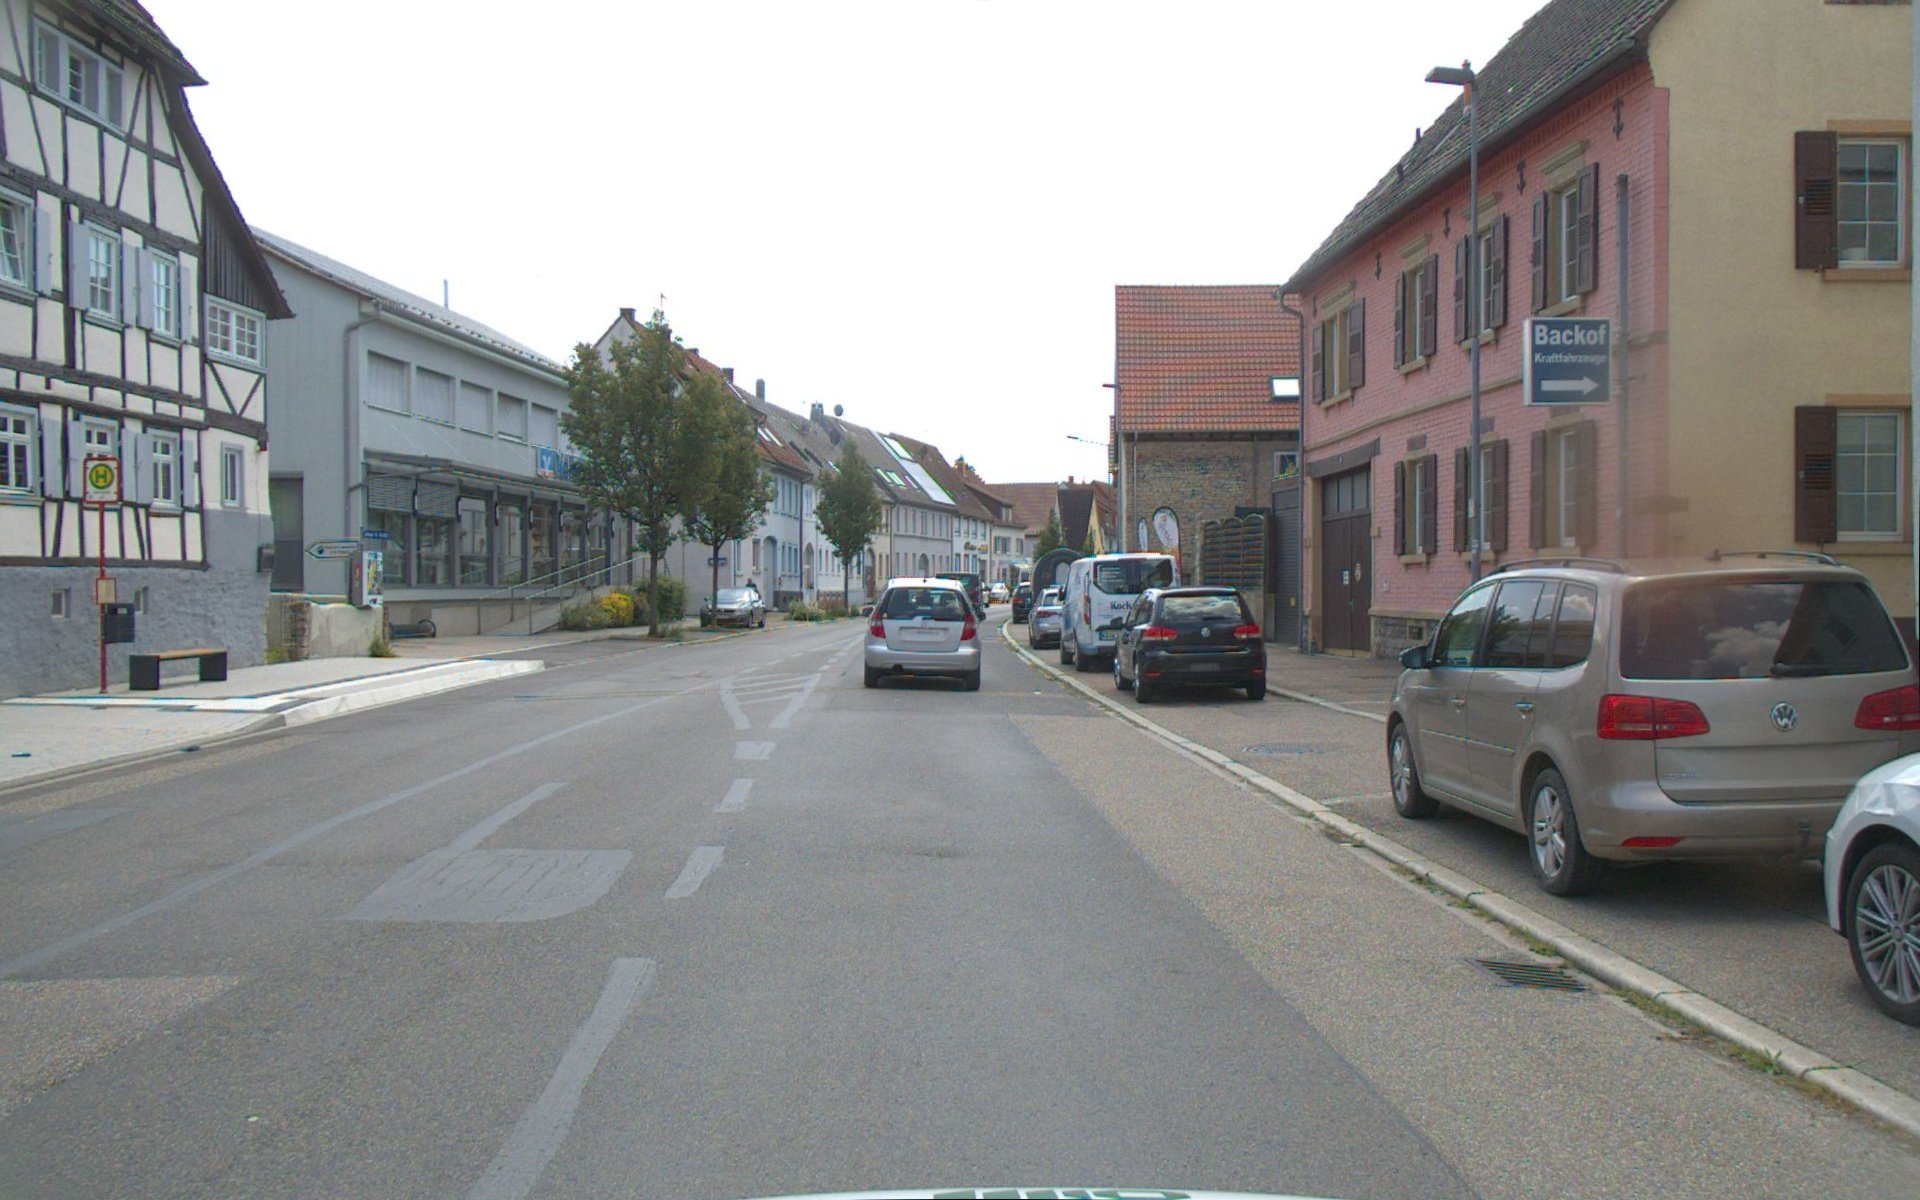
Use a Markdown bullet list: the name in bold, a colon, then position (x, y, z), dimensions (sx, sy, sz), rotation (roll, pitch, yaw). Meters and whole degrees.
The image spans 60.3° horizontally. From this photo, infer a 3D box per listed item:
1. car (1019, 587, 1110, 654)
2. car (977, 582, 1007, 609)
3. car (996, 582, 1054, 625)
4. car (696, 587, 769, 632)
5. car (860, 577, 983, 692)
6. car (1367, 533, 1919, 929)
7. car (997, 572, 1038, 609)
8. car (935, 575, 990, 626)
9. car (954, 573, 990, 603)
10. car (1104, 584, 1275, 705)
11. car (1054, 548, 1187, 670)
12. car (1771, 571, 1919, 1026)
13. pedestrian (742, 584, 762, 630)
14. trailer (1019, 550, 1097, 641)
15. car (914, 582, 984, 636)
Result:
- **car**: position (2.494, 0.452, 40.503), dimensions (1.837, 1.507, 4.674), rotation (1, 0, -1)
- **car**: position (2.462, -0.319, 127.193), dimensions (1.951, 2.049, 4.002), rotation (-1, -1, 5)
- **car**: position (2.555, 0.125, 64.572), dimensions (1.951, 1.586, 4.003), rotation (-1, 0, 6)
- **car**: position (-7.962, 0.307, 58.155), dimensions (1.766, 1.486, 4.160), rotation (1, 0, 3)
- **car**: position (-0.590, 0.491, 25.574), dimensions (1.733, 1.622, 3.999), rotation (1, 0, -1)
- **car**: position (3.839, 0.553, 9.354), dimensions (1.953, 1.710, 4.322), rotation (0, 0, -1)
- **car**: position (3.705, -0.588, 105.250), dimensions (2.188, 2.261, 4.003), rotation (-1, -1, 8)
- **car**: position (0.120, 0.038, 67.608), dimensions (1.731, 1.920, 4.450), rotation (2, 0, 6)
- **car**: position (0.749, -0.752, 103.530), dimensions (1.951, 1.780, 4.002), rotation (-1, -1, 5)
- **car**: position (3.096, 0.553, 23.056), dimensions (1.738, 1.521, 4.161), rotation (0, 0, -1)
- **car**: position (2.885, 0.137, 30.784), dimensions (1.854, 2.016, 4.930), rotation (-2, 0, -1)
- **car**: position (4.336, 0.673, 4.395), dimensions (1.955, 1.544, 4.367), rotation (0, 0, -5)
- **pedestrian**: position (-8.498, 0.284, 67.554), dimensions (0.724, 1.833, 0.642), rotation (-1, -1, 0)
- **trailer**: position (2.657, -0.127, 45.525), dimensions (1.807, 2.395, 3.588), rotation (-1, 0, -2)
- **car**: position (-0.359, 0.256, 47.986), dimensions (1.906, 1.432, 3.999), rotation (3, 0, -2)
